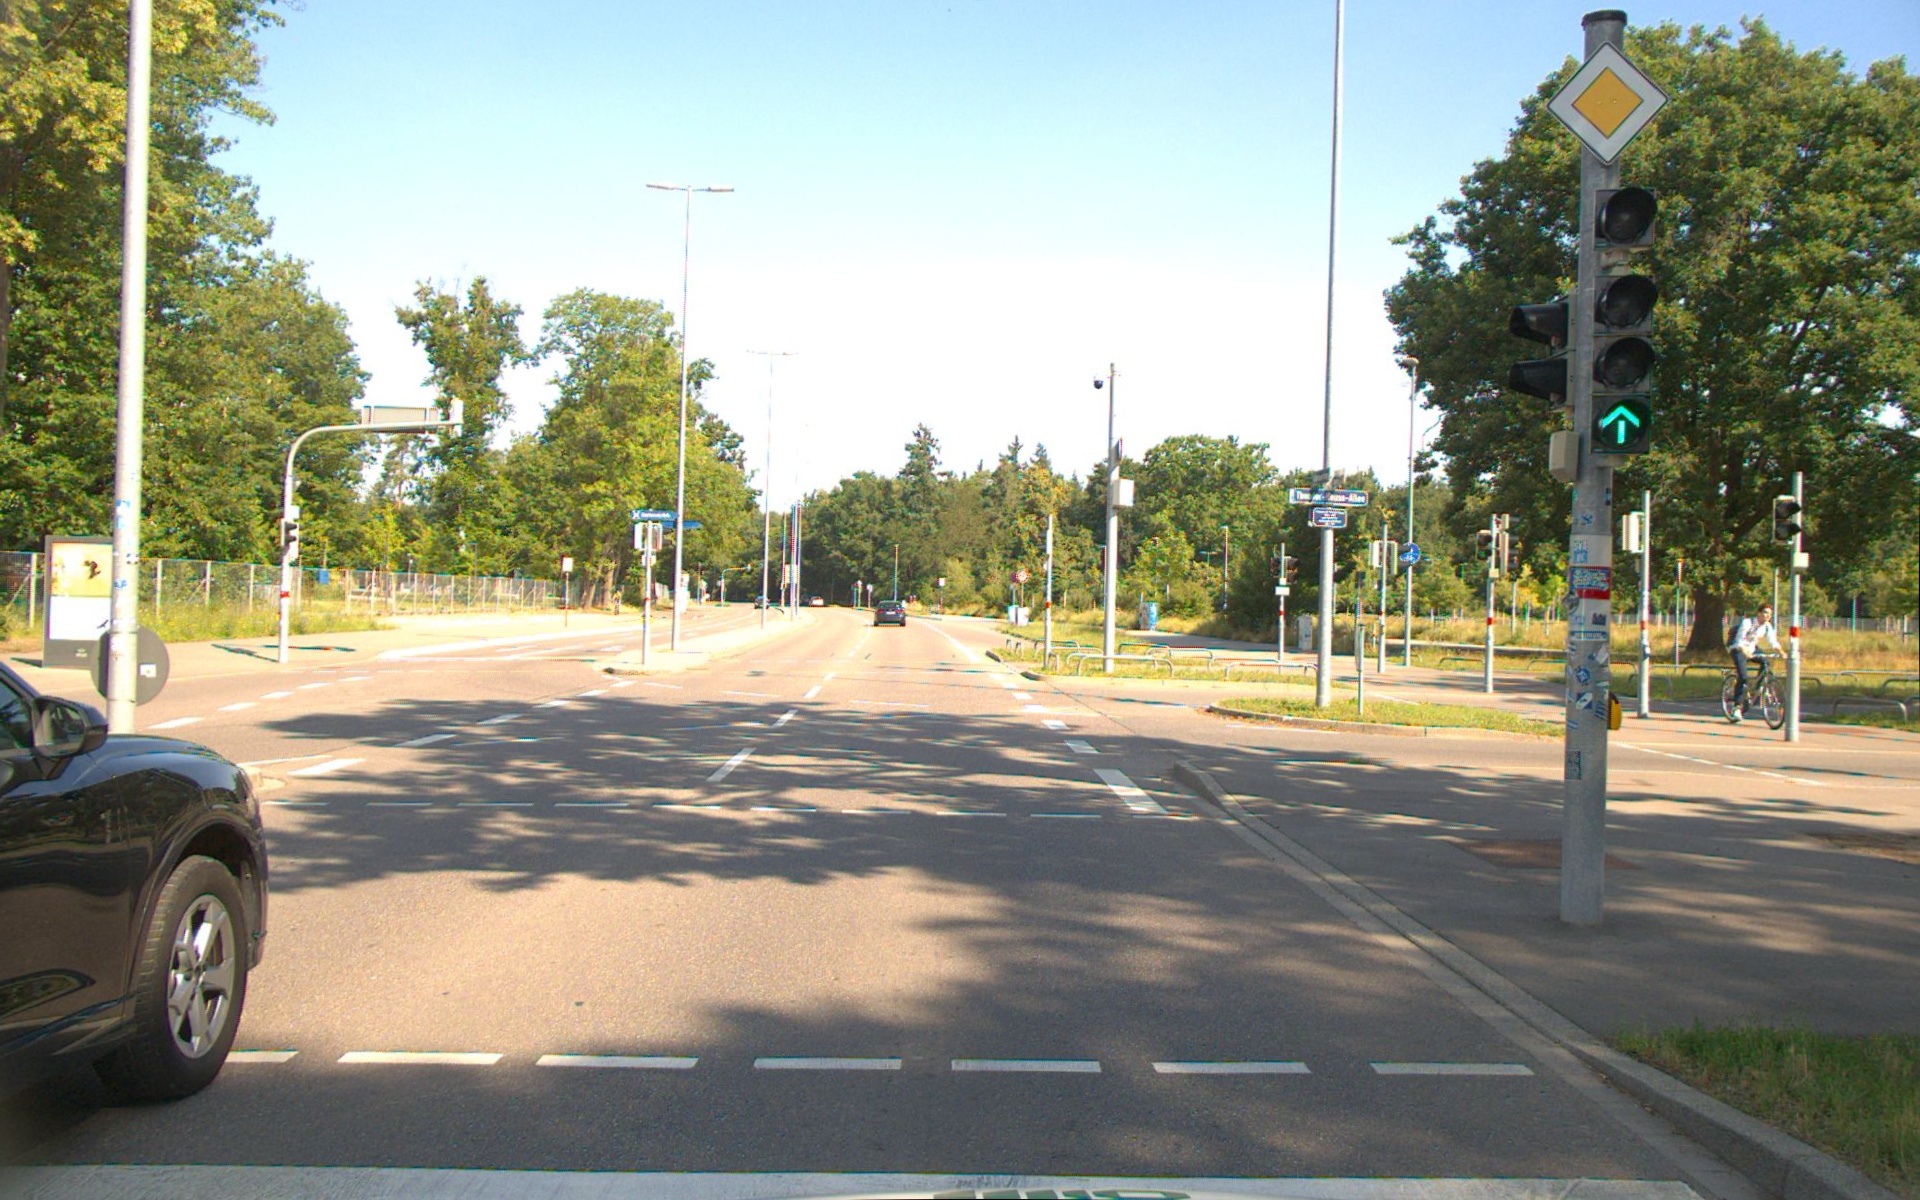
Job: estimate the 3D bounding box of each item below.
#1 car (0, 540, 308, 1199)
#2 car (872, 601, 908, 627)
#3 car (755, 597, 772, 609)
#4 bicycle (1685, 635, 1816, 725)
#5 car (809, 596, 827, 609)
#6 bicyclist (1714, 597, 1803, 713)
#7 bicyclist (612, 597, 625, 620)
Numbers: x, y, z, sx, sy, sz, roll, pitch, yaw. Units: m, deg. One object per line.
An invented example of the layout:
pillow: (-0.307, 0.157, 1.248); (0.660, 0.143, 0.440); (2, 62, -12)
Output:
car: (-2.958, 0.649, 3.372); (1.653, 1.571, 4.148); (0, 0, -1)
car: (-4.068, 0.796, 95.333); (1.903, 1.445, 4.289); (1, 0, -5)
car: (-25.119, 0.364, 211.176); (1.779, 1.412, 4.149); (-1, 0, -12)
bicycle: (11.759, 1.164, 24.689); (0.710, 1.220, 2.097); (1, 0, -8)
car: (-20.786, 0.390, 242.024); (1.960, 1.780, 3.985); (1, 0, -14)
bicyclist: (11.807, 0.801, 24.480); (0.710, 1.667, 1.056); (1, 0, -8)
bicyclist: (-22.652, 0.565, 109.820); (0.647, 1.493, 1.056); (3, 0, -5)
